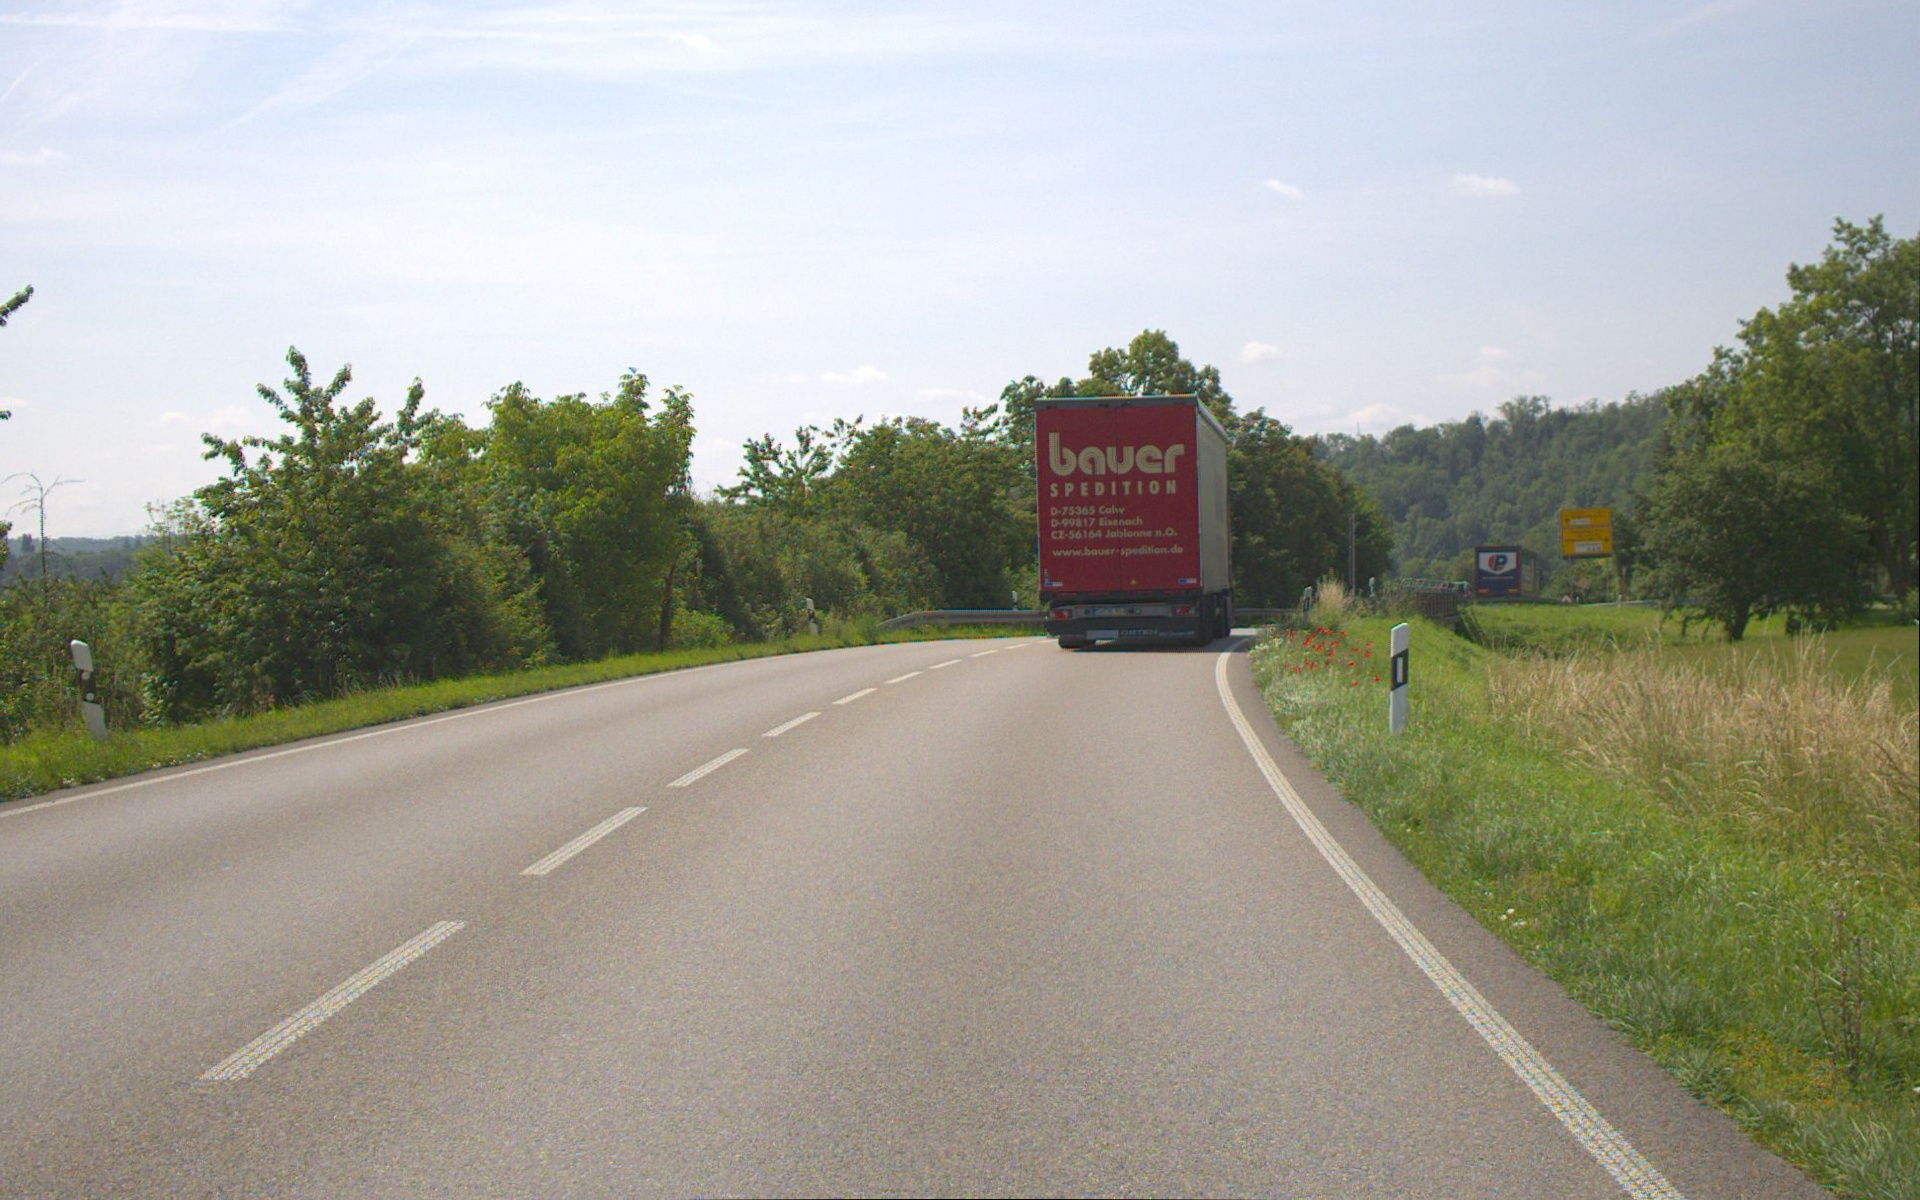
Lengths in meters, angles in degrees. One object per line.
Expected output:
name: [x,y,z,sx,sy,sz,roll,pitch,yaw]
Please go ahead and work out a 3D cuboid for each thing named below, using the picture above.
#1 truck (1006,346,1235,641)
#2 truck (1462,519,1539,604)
truck: [2.938,-1.639,58.866,3.113,4.490,12.164,1,0,6]
truck: [32.015,-2.185,203.074,3.905,4.674,16.368,-2,0,11]
